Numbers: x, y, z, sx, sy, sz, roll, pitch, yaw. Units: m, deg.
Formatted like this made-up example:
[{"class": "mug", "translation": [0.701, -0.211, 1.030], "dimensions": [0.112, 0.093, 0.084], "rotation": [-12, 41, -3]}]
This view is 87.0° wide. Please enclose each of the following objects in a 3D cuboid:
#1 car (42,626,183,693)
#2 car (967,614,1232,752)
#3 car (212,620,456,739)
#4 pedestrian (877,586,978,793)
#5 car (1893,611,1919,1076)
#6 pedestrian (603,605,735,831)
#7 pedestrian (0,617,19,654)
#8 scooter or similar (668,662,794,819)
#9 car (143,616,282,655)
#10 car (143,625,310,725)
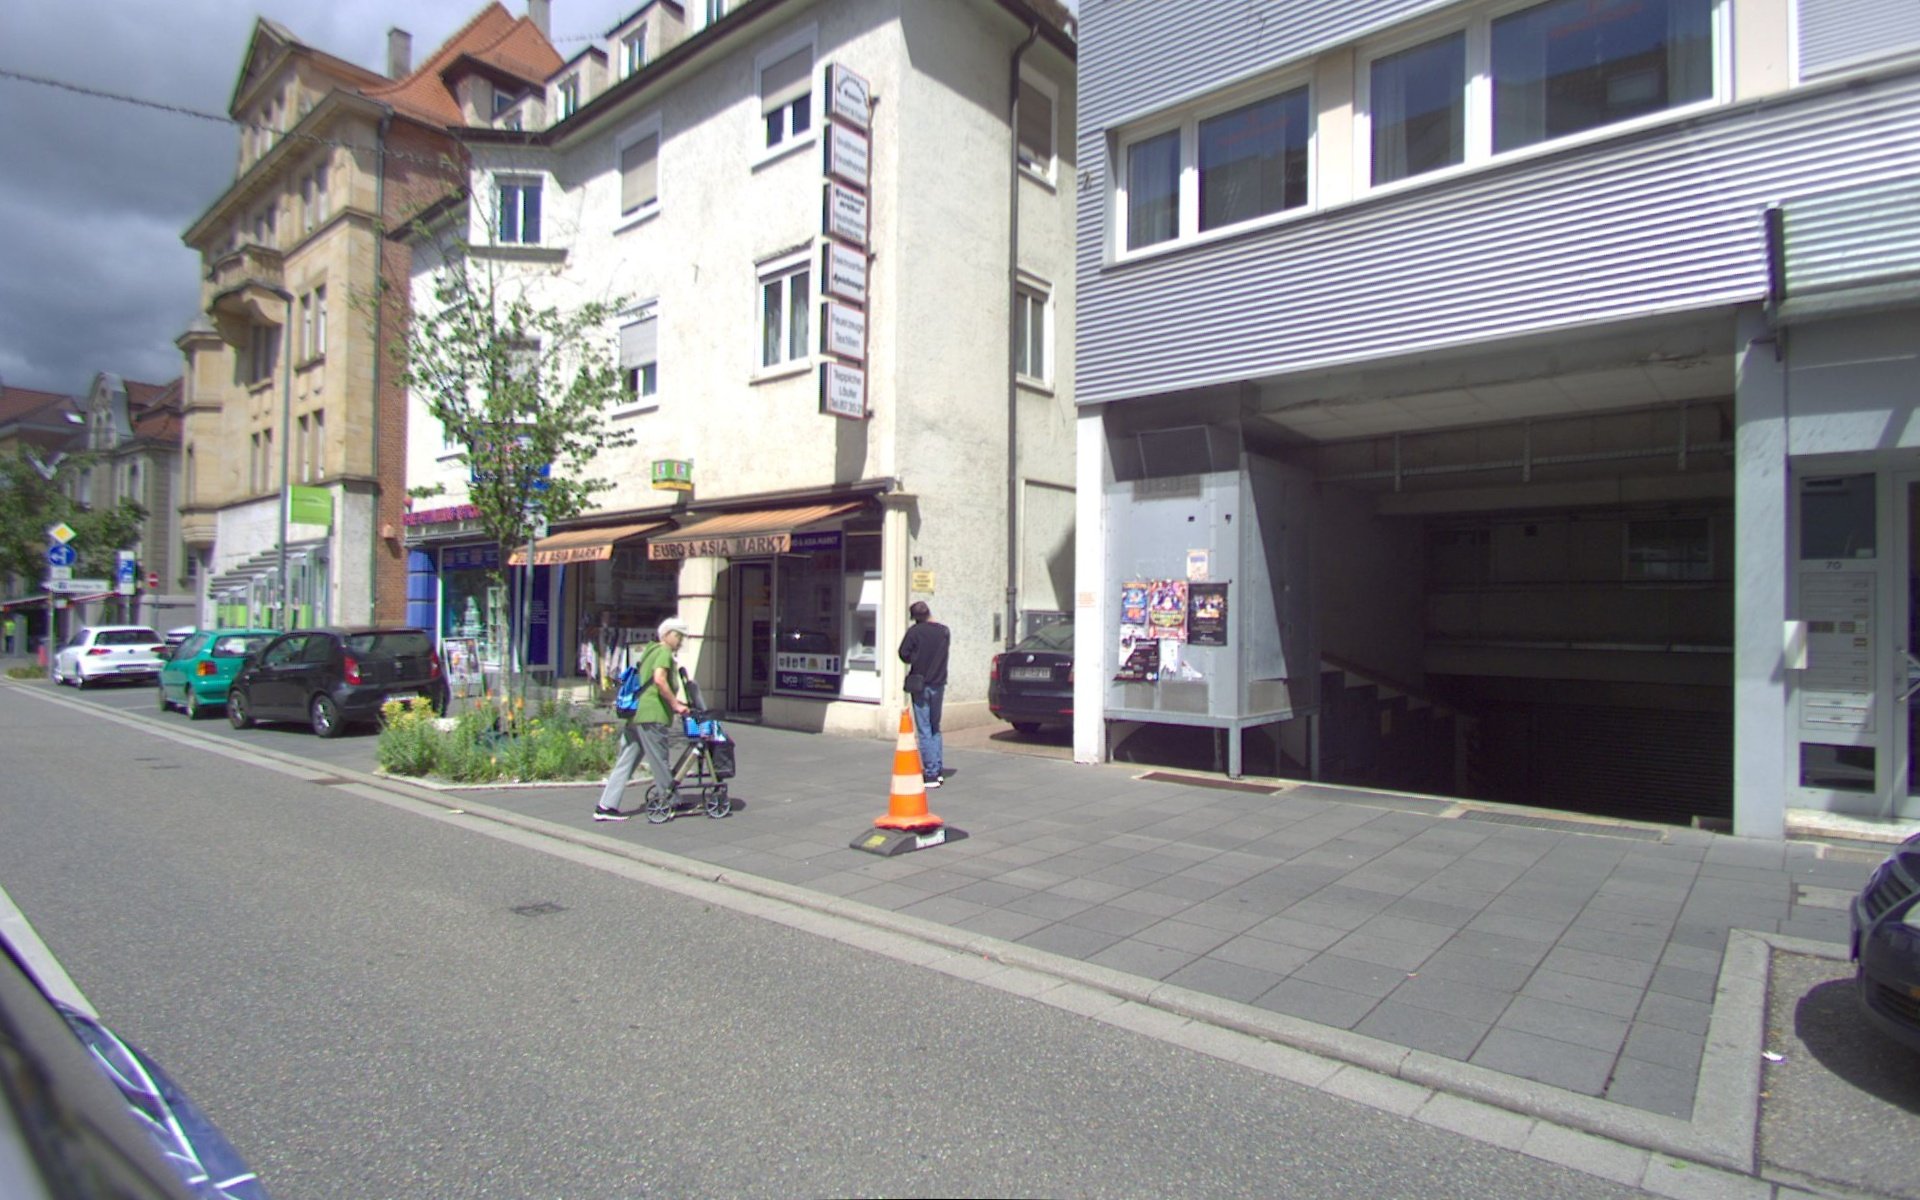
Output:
[{"class": "car", "translation": [-20.720, 1.388, 24.703], "dimensions": [4.031, 1.408, 1.828], "rotation": [0, 0, 38]}, {"class": "car", "translation": [1.918, 0.940, 13.043], "dimensions": [1.655, 1.420, 3.782], "rotation": [0, 0, 40]}, {"class": "car", "translation": [-8.977, 1.071, 14.451], "dimensions": [3.546, 1.457, 1.584], "rotation": [-2, -1, 33]}, {"class": "pedestrian", "translation": [-0.292, 0.768, 9.129], "dimensions": [0.728, 1.770, 0.543], "rotation": [0, 0, 38]}, {"class": "car", "translation": [5.097, 0.773, 1.991], "dimensions": [4.710, 1.524, 1.771], "rotation": [-1, -1, 41]}, {"class": "pedestrian", "translation": [-2.240, 0.856, 7.812], "dimensions": [0.650, 1.630, 0.725], "rotation": [0, 0, 36]}, {"class": "pedestrian", "translation": [-45.786, 1.697, 48.488], "dimensions": [0.809, 1.770, 0.793], "rotation": [0, 0, 30]}, {"class": "scooter or similar", "translation": [-1.844, 1.099, 8.192], "dimensions": [0.629, 1.134, 0.774], "rotation": [0, 0, 36]}, {"class": "car", "translation": [-31.568, 1.456, 42.900], "dimensions": [1.985, 1.391, 4.359], "rotation": [-1, 1, 20]}, {"class": "car", "translation": [-12.578, 1.193, 17.280], "dimensions": [3.667, 1.425, 1.569], "rotation": [0, 0, 42]}]
